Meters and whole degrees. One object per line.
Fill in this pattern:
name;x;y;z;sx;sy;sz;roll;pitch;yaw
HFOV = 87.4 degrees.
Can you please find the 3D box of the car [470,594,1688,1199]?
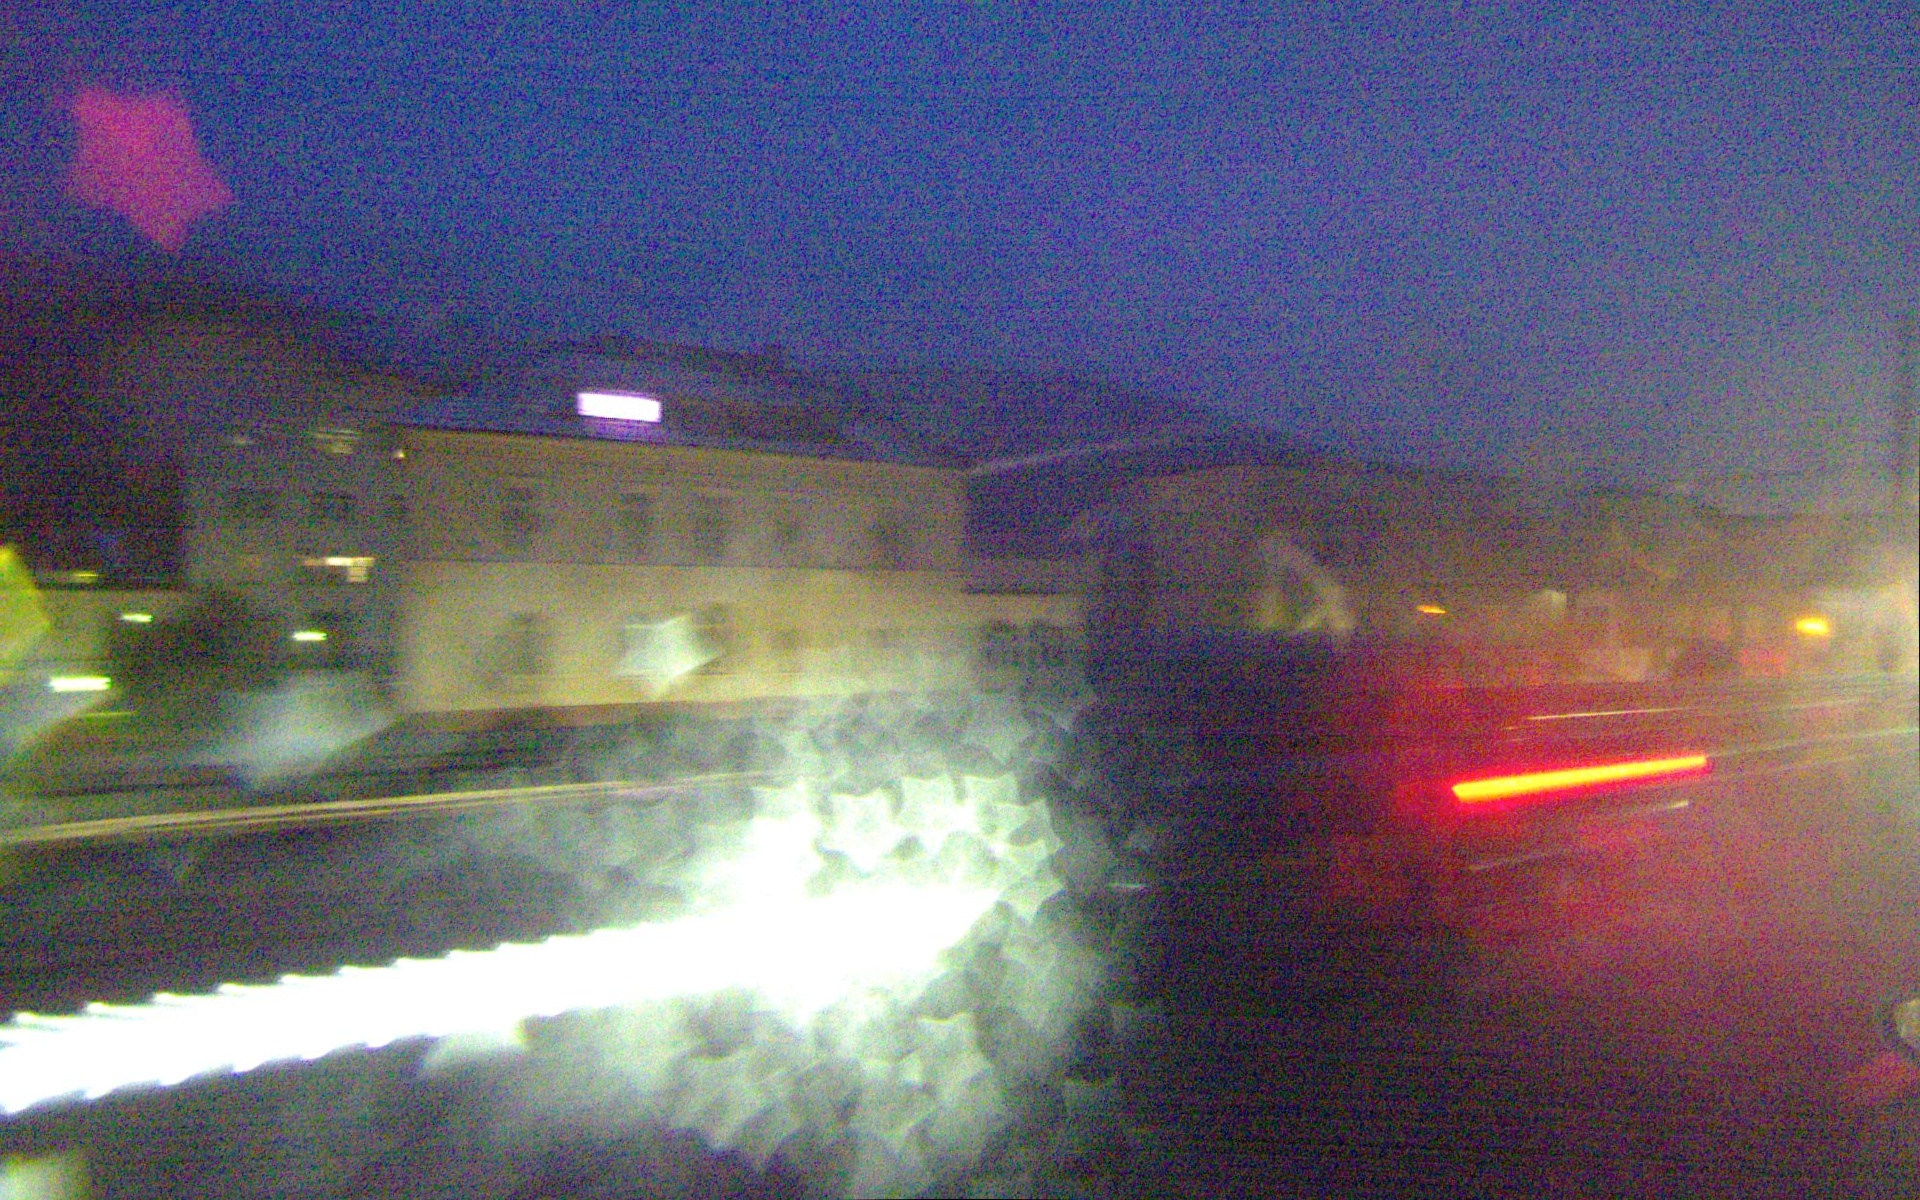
car;0.628;0.756;3.799;4.341;1.467;1.859;1;0;-30
